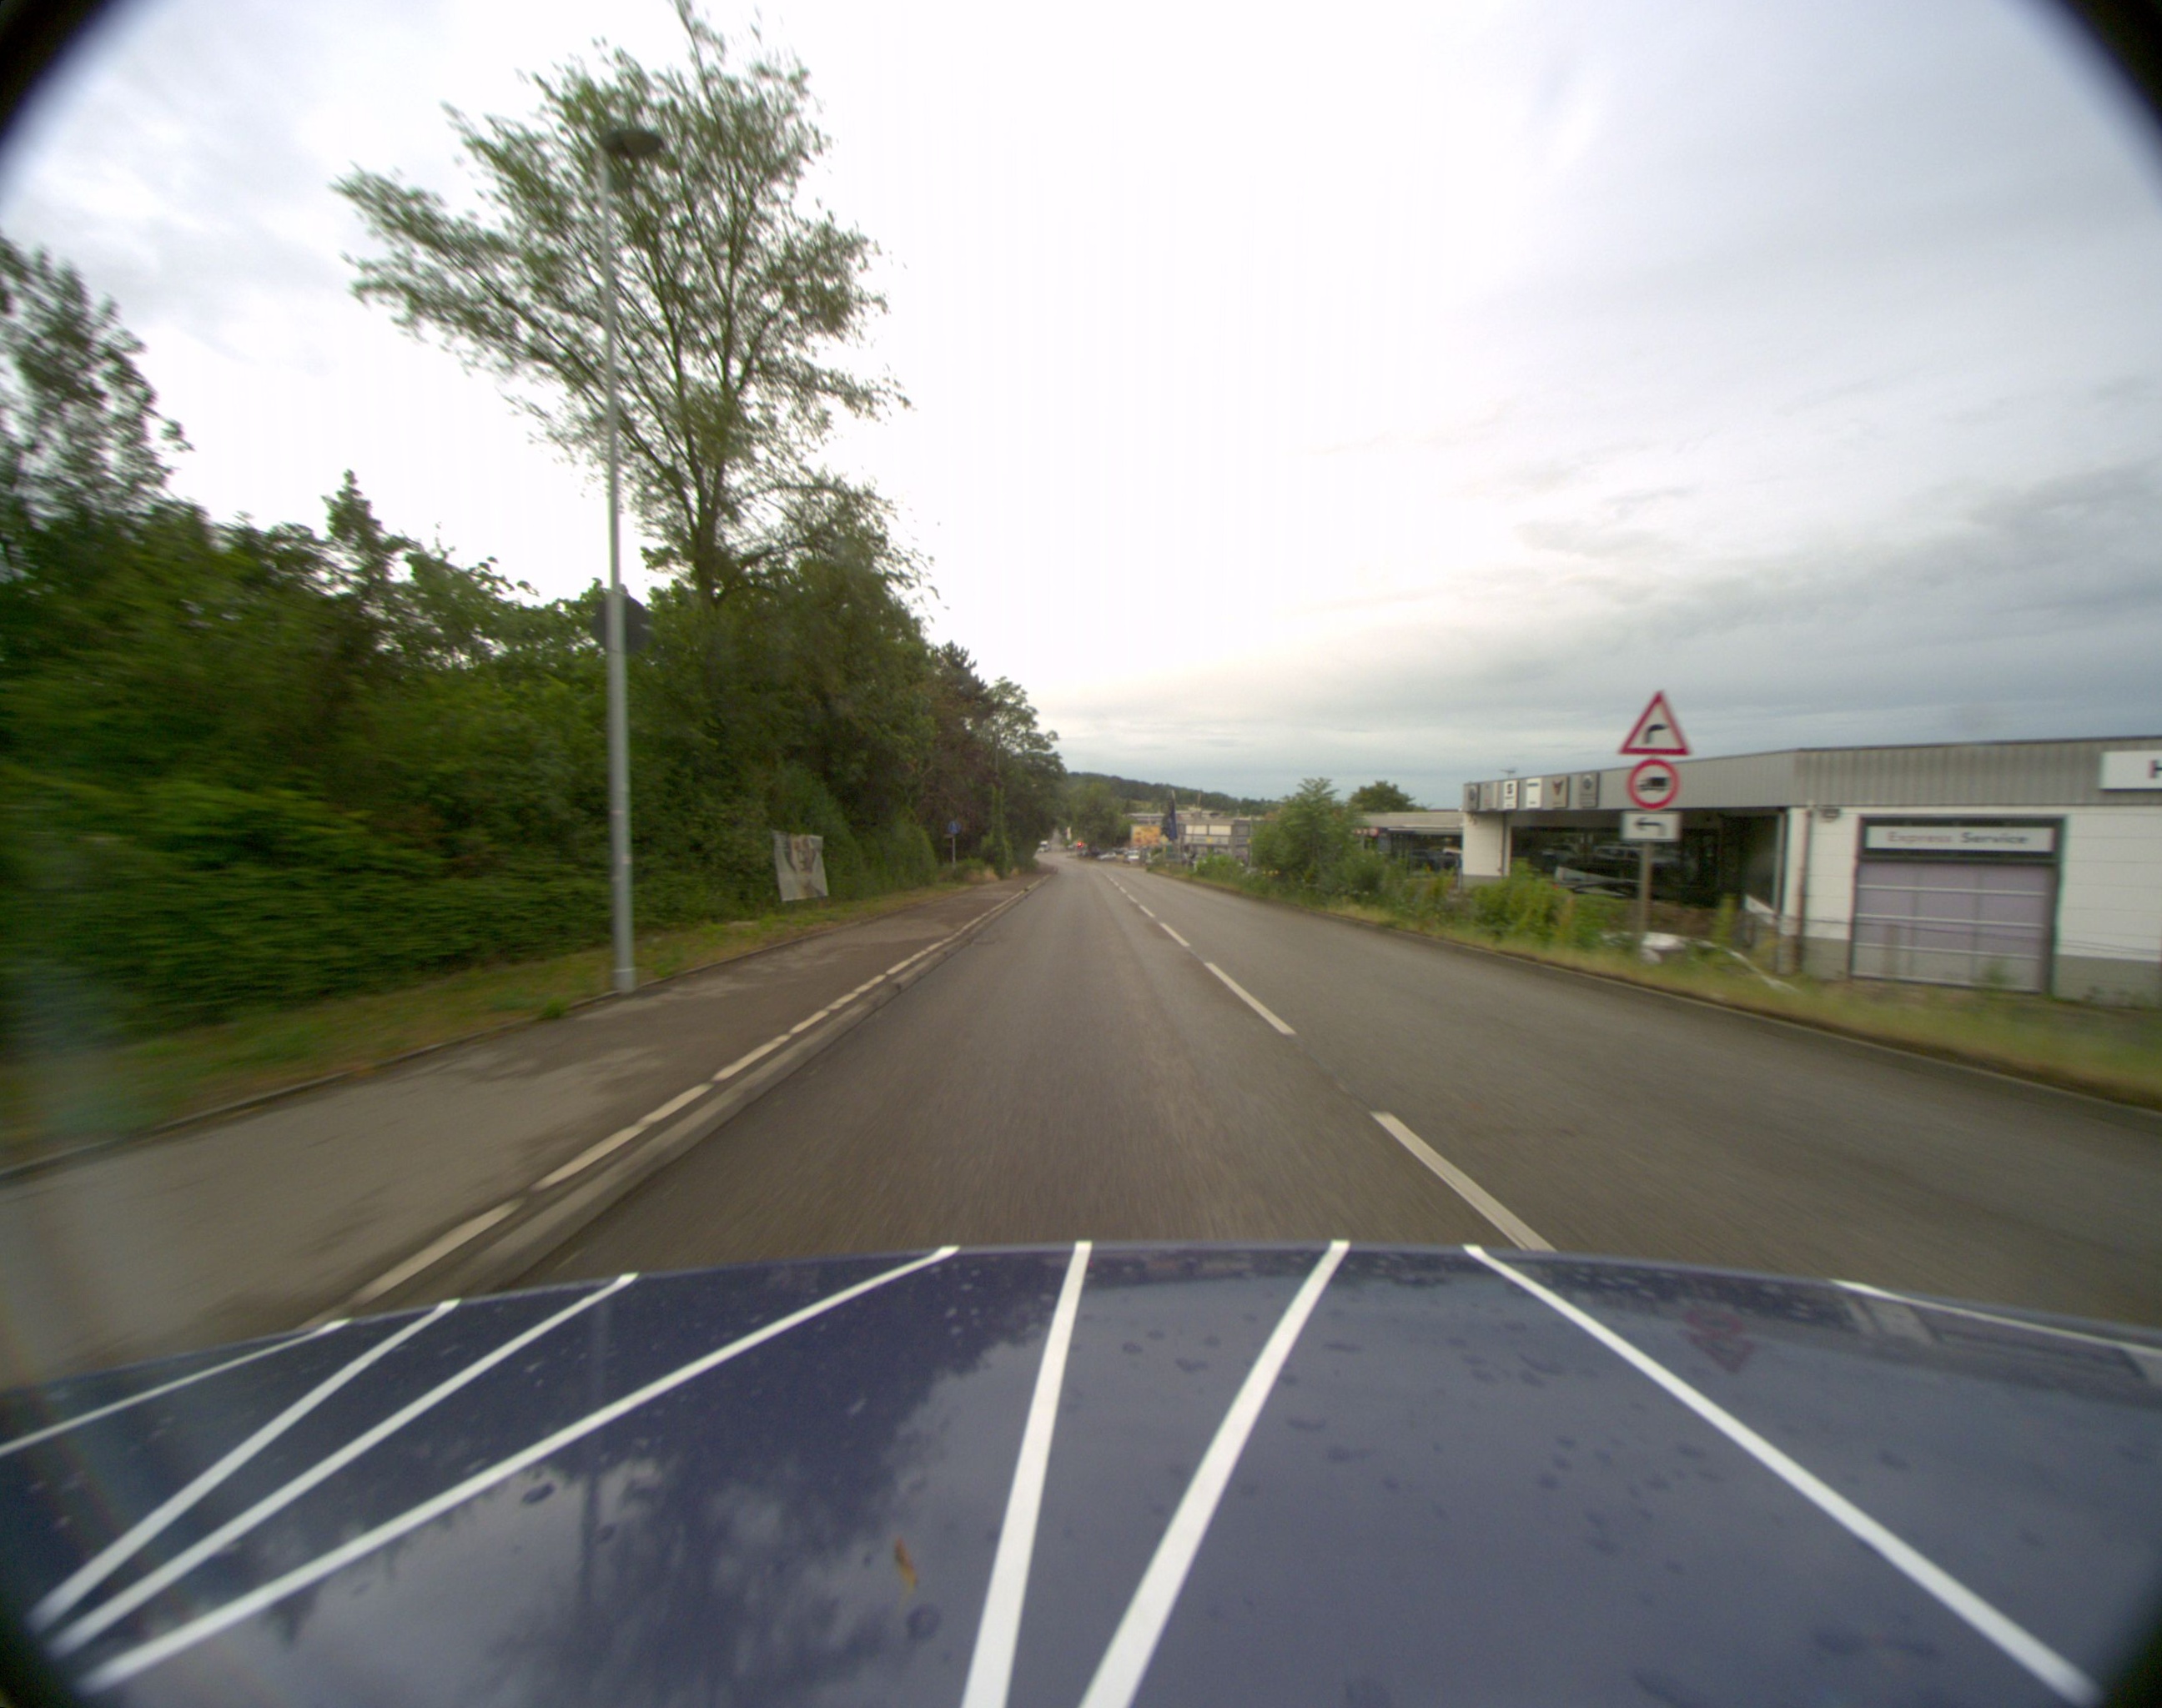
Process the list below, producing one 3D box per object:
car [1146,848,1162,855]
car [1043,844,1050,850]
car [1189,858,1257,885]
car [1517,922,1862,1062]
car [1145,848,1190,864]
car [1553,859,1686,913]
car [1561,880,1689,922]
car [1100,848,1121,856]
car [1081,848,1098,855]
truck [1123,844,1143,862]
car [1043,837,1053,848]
[{"bbox_3d":[15.638,-0.514,162.488,1.824,1.407,4.017,2,2,29],"label":"car"},{"bbox_3d":[-9.410,-1.825,205.661,1.770,1.460,3.997,1,2,-5],"label":"car"},{"bbox_3d":[9.997,1.219,53.634,4.424,1.787,1.934,1,1,-1],"label":"car"},{"bbox_3d":[10.694,2.404,13.596,4.639,1.793,1.866,5,1,-3],"label":"car"},{"bbox_3d":[10.512,0.245,92.235,5.084,1.860,1.821,1,1,-9],"label":"car"},{"bbox_3d":[23.275,1.311,32.996,4.471,1.949,1.992,4,3,35],"label":"car"},{"bbox_3d":[21.578,1.821,30.309,4.010,1.408,1.958,1,0,34],"label":"car"},{"bbox_3d":[5.839,-0.437,149.985,4.015,1.561,1.716,-2,3,-39],"label":"car"},{"bbox_3d":[1.849,-0.508,166.473,3.768,1.559,1.671,1,2,-4],"label":"car"},{"bbox_3d":[8.020,-0.159,118.297,1.999,2.618,7.888,1,1,-3],"label":"truck"},{"bbox_3d":[-9.684,-3.440,222.942,2.575,2.759,6.122,2,4,-2],"label":"car"}]
